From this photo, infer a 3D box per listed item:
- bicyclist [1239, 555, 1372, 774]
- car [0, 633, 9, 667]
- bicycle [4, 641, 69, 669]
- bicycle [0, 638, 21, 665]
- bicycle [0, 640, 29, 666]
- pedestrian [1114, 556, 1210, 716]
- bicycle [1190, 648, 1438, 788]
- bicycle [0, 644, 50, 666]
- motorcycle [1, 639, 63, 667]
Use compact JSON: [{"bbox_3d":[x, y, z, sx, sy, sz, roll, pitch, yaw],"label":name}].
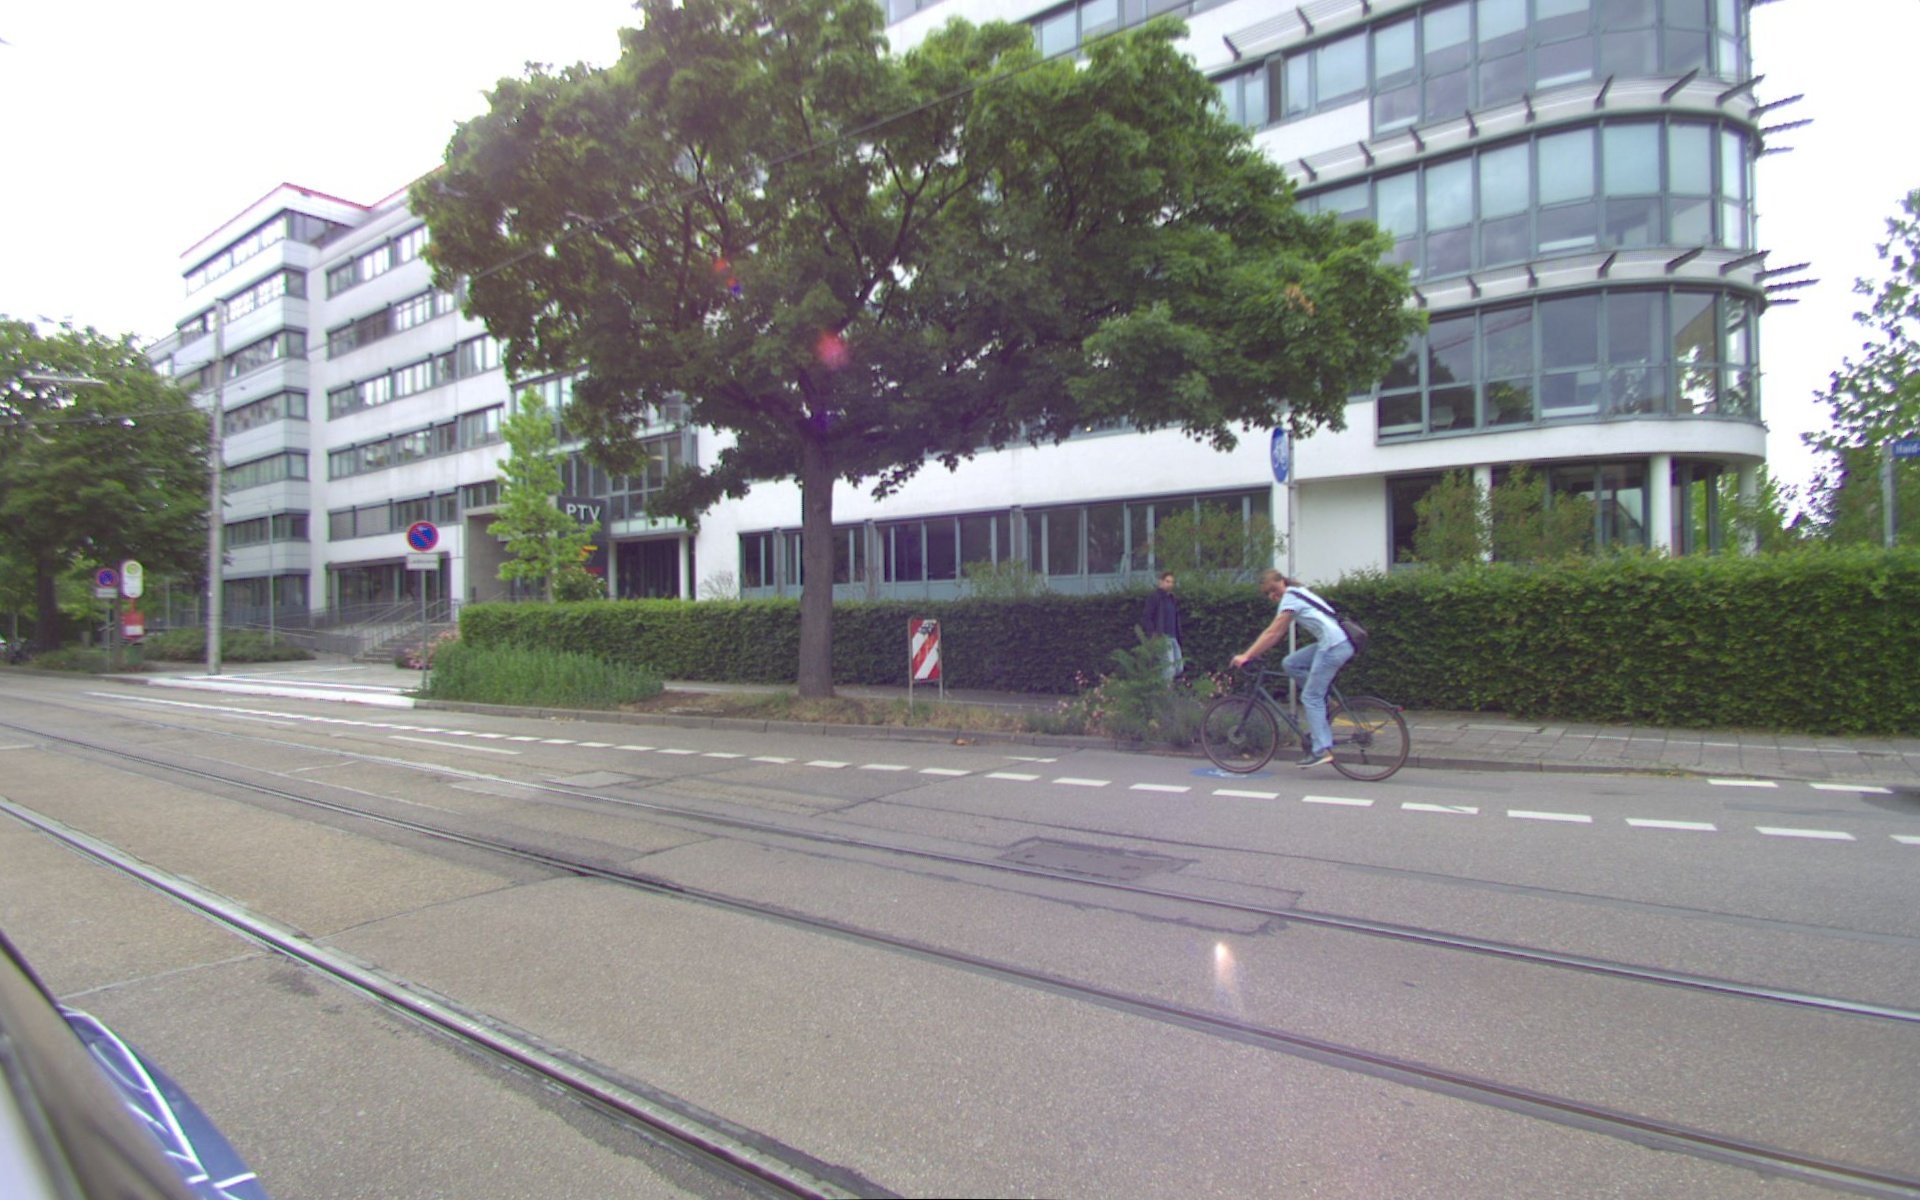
[{"bbox_3d":[2.986,0.538,8.728,0.974,1.762,0.731,-1,-2,27],"label":"bicyclist"},{"bbox_3d":[-45.884,2.358,46.896,4.745,1.505,1.864,-2,0,37],"label":"car"},{"bbox_3d":[-37.301,2.224,40.912,0.738,1.061,1.816,-2,-1,28],"label":"bicycle"},{"bbox_3d":[-43.288,2.307,45.248,0.632,1.195,1.845,-2,-2,41],"label":"bicycle"},{"bbox_3d":[-42.321,2.325,44.605,0.630,1.108,1.793,-1,-2,31],"label":"bicycle"},{"bbox_3d":[2.676,0.460,13.441,0.991,2.029,0.702,-1,0,44],"label":"pedestrian"},{"bbox_3d":[3.016,0.963,8.695,1.947,1.082,0.583,-1,-2,27],"label":"bicycle"},{"bbox_3d":[-40.272,2.358,43.354,0.630,0.906,1.793,-1,-2,31],"label":"bicycle"},{"bbox_3d":[-38.999,2.208,42.541,0.730,1.058,1.775,-1,0,30],"label":"motorcycle"}]
